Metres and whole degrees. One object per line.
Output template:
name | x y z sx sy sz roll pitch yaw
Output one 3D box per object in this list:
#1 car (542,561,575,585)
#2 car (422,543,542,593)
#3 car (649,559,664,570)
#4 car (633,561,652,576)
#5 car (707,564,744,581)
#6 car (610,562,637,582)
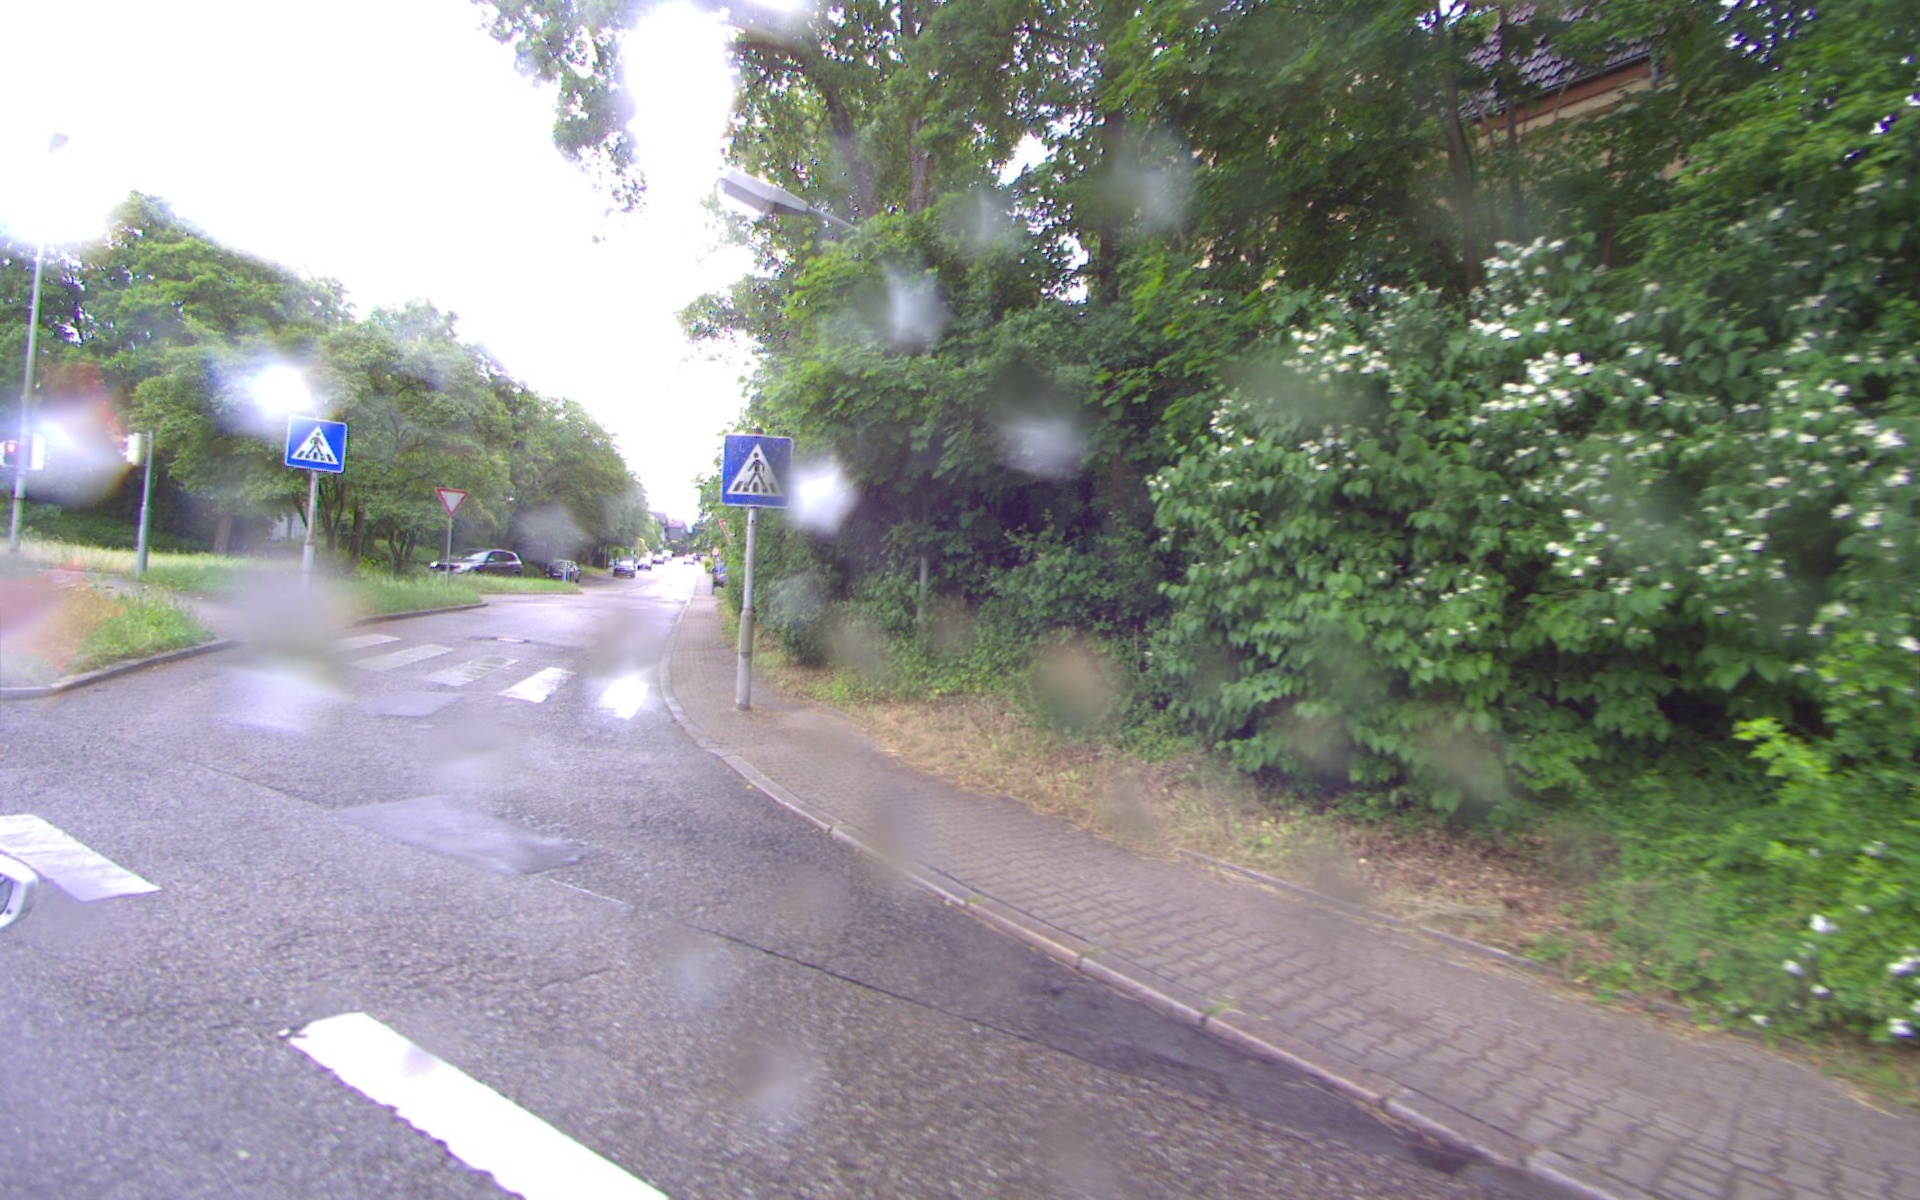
car | -27.317 -1.853 68.525 1.651 1.387 3.478 6 0 -17
car | -21.565 -1.393 45.586 1.963 1.738 4.715 6 0 22
car | -48.383 -5.702 160.291 1.877 1.413 4.151 7 -2 -20
car | -39.247 -3.886 124.430 1.968 1.463 4.278 7 -2 -19
car | -27.293 -3.202 116.896 3.940 1.594 1.767 5 1 -18
car | -31.584 -2.650 94.520 1.874 1.467 4.286 7 -2 -13
